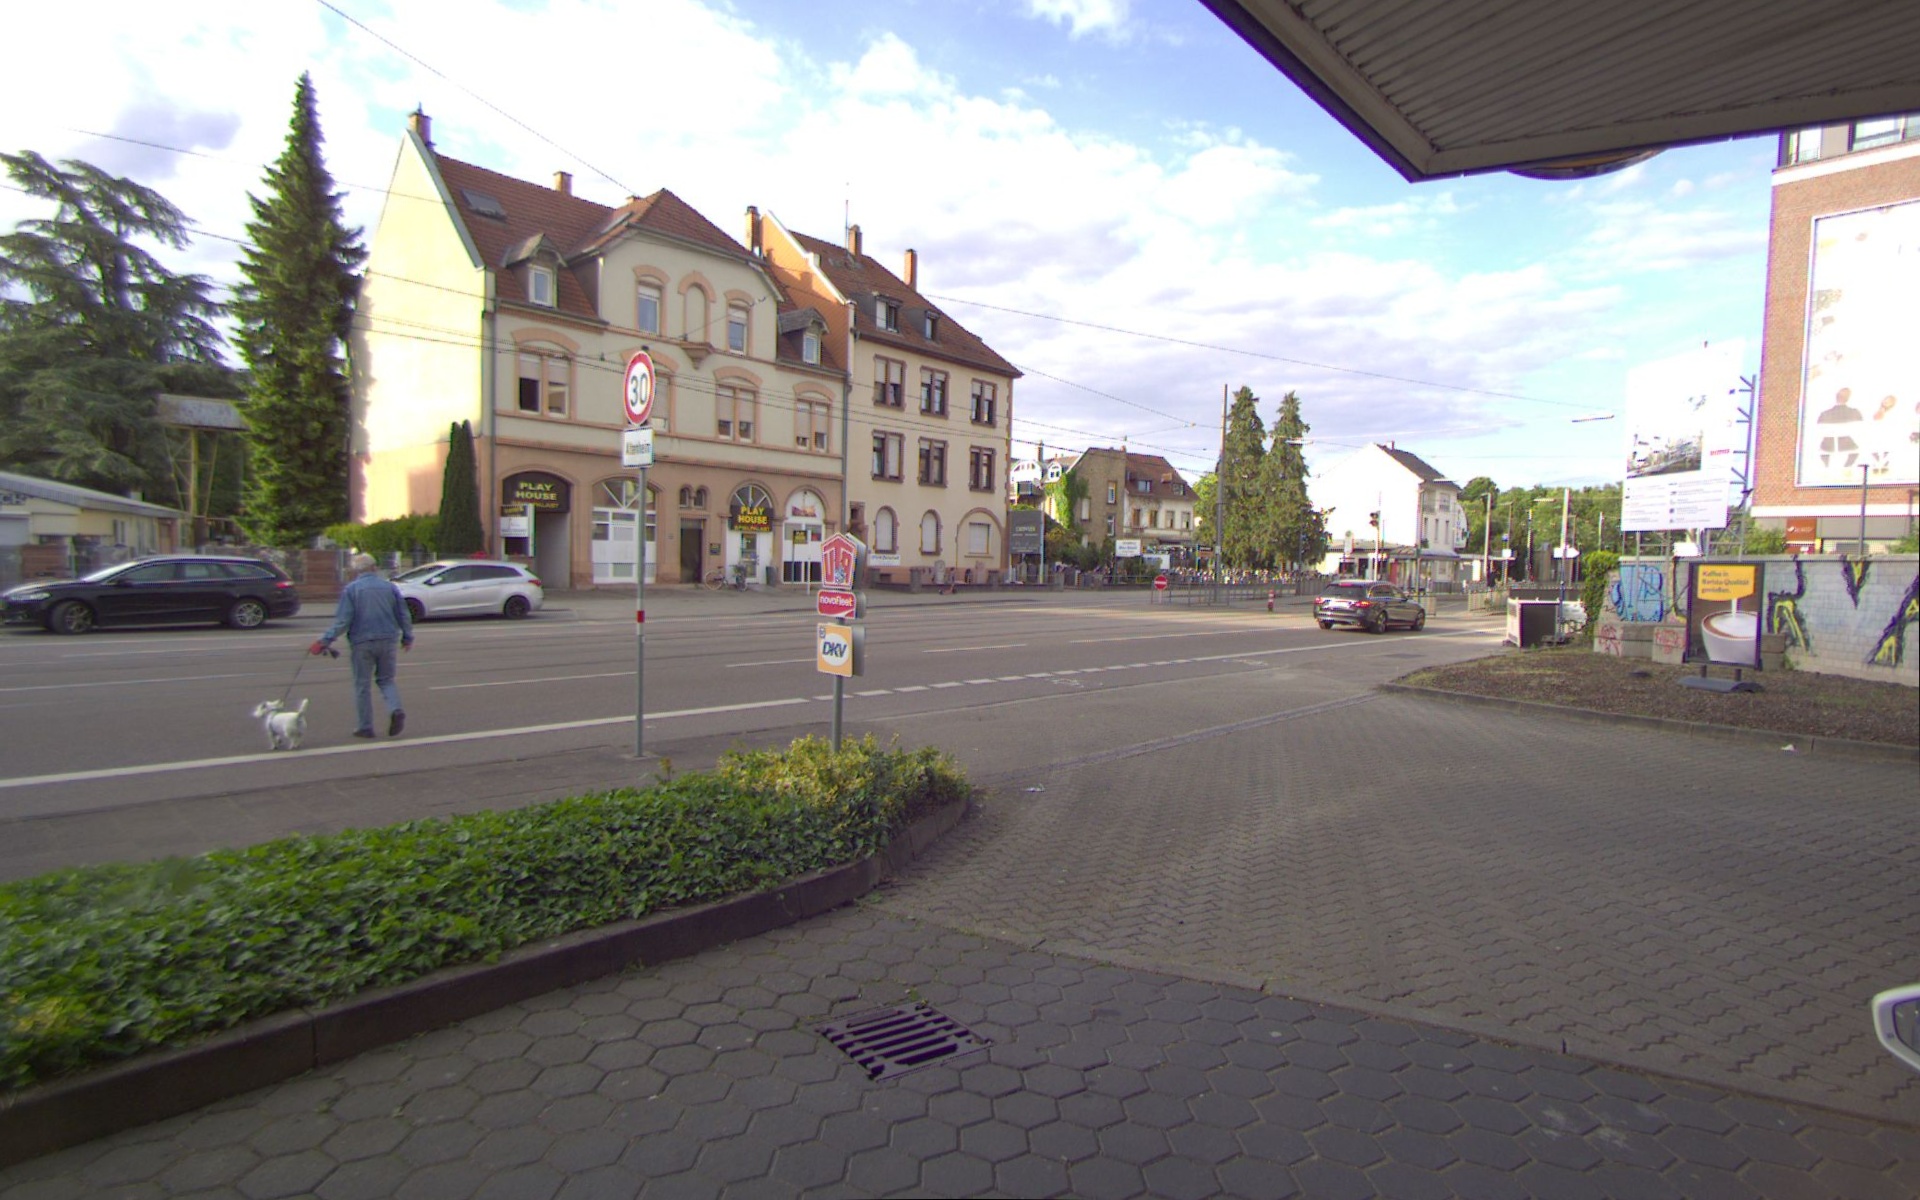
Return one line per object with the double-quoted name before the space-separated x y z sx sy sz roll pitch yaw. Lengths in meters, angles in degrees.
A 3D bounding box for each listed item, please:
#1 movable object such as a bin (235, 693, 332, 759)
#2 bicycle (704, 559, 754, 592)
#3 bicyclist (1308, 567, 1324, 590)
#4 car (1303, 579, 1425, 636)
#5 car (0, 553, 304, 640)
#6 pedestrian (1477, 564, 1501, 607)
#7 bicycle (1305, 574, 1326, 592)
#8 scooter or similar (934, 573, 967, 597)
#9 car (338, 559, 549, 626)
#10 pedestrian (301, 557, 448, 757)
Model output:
"movable object such as a bin" -5.910 1.090 8.773 0.668 0.426 0.480 5 4 32
"bicycle" -9.100 -0.953 39.609 0.665 1.229 1.862 4 2 41
"bicyclist" 24.222 -1.445 68.374 0.671 1.555 1.079 2 2 42
"car" 11.848 0.168 29.267 1.730 1.488 4.543 4 3 43
"car" -16.593 -0.140 20.733 1.983 1.520 4.755 4 4 39
"pedestrian" 25.562 -0.711 48.561 0.797 2.040 0.846 2 0 43
"bicycle" 24.220 -1.146 68.377 0.670 1.239 1.909 2 2 41
"scooter or similar" -0.429 -0.663 45.110 0.461 1.041 1.655 4 3 40
"car" -12.913 -0.235 25.355 1.699 1.503 4.434 4 4 40
"pedestrian" -5.444 0.470 9.340 0.996 1.691 0.959 -2 6 -42
